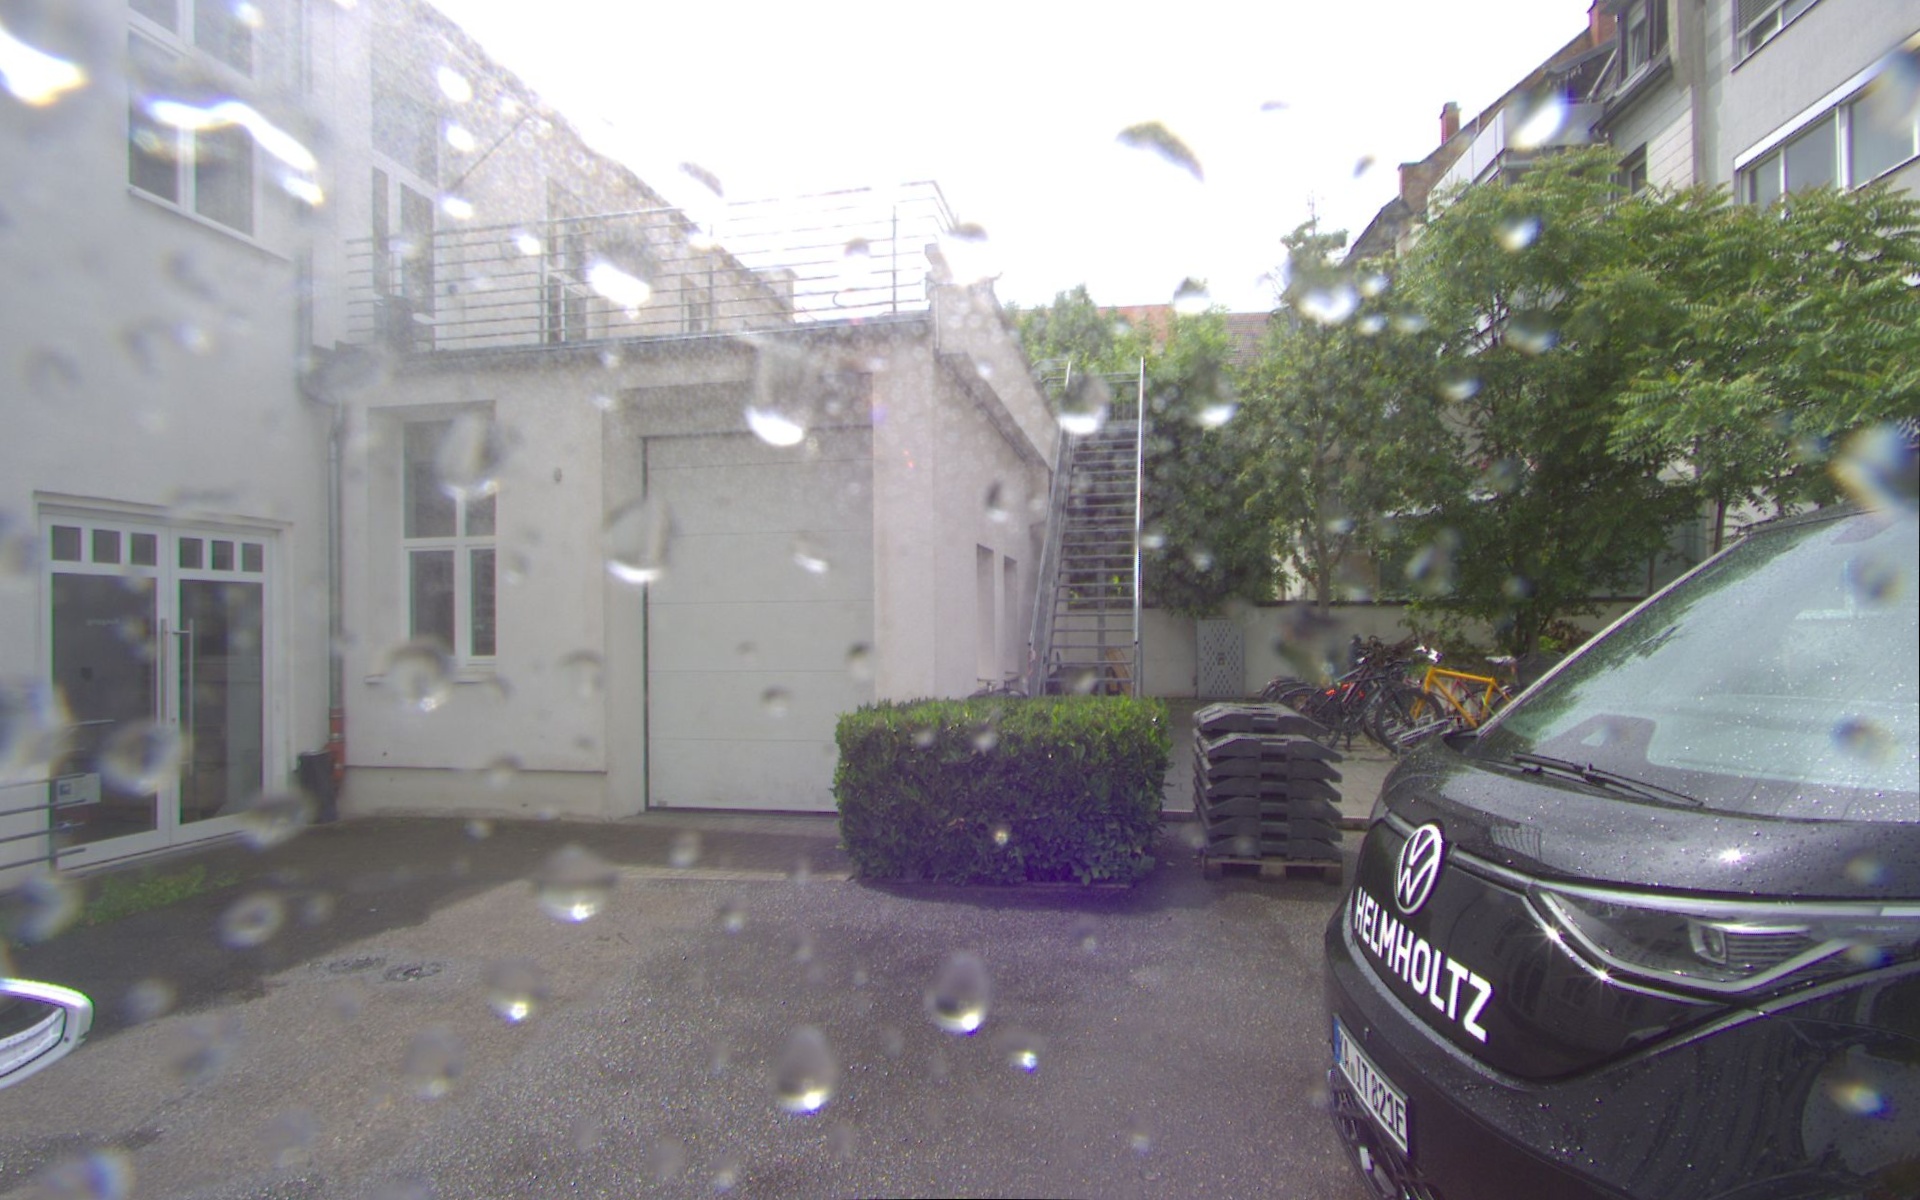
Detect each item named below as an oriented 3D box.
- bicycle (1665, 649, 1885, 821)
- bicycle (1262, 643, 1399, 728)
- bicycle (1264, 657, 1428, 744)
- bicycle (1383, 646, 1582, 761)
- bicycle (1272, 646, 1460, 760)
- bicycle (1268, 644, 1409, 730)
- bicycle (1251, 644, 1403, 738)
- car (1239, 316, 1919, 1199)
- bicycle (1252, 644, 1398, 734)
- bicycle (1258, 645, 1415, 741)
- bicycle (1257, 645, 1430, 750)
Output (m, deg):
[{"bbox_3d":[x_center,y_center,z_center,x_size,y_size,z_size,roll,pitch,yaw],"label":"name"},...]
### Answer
[{"bbox_3d":[6.256,0.978,7.809,0.438,1.118,1.796,-3,-1,9],"label":"bicycle"},{"bbox_3d":[5.038,1.157,13.660,1.721,1.118,0.342,0,0,5],"label":"bicycle"},{"bbox_3d":[4.474,1.156,11.659,1.761,0.980,0.330,0,0,6],"label":"bicycle"},{"bbox_3d":[5.318,1.041,10.264,1.763,1.118,0.367,0,0,13],"label":"bicycle"},{"bbox_3d":[4.178,1.043,10.399,1.763,1.118,0.405,0,0,13],"label":"bicycle"},{"bbox_3d":[5.011,1.144,13.299,1.721,1.118,0.355,0,0,5],"label":"bicycle"},{"bbox_3d":[4.512,1.113,12.357,1.721,1.118,0.343,0,0,5],"label":"bicycle"},{"bbox_3d":[3.158,0.583,2.031,4.656,1.888,1.971,-1,-1,4],"label":"car"},{"bbox_3d":[4.649,1.128,12.820,1.721,1.118,0.346,0,0,5],"label":"bicycle"},{"bbox_3d":[4.494,1.100,12.002,1.721,1.118,0.333,0,0,5],"label":"bicycle"},{"bbox_3d":[4.259,1.072,11.206,1.763,1.118,0.354,0,0,13],"label":"bicycle"}]
